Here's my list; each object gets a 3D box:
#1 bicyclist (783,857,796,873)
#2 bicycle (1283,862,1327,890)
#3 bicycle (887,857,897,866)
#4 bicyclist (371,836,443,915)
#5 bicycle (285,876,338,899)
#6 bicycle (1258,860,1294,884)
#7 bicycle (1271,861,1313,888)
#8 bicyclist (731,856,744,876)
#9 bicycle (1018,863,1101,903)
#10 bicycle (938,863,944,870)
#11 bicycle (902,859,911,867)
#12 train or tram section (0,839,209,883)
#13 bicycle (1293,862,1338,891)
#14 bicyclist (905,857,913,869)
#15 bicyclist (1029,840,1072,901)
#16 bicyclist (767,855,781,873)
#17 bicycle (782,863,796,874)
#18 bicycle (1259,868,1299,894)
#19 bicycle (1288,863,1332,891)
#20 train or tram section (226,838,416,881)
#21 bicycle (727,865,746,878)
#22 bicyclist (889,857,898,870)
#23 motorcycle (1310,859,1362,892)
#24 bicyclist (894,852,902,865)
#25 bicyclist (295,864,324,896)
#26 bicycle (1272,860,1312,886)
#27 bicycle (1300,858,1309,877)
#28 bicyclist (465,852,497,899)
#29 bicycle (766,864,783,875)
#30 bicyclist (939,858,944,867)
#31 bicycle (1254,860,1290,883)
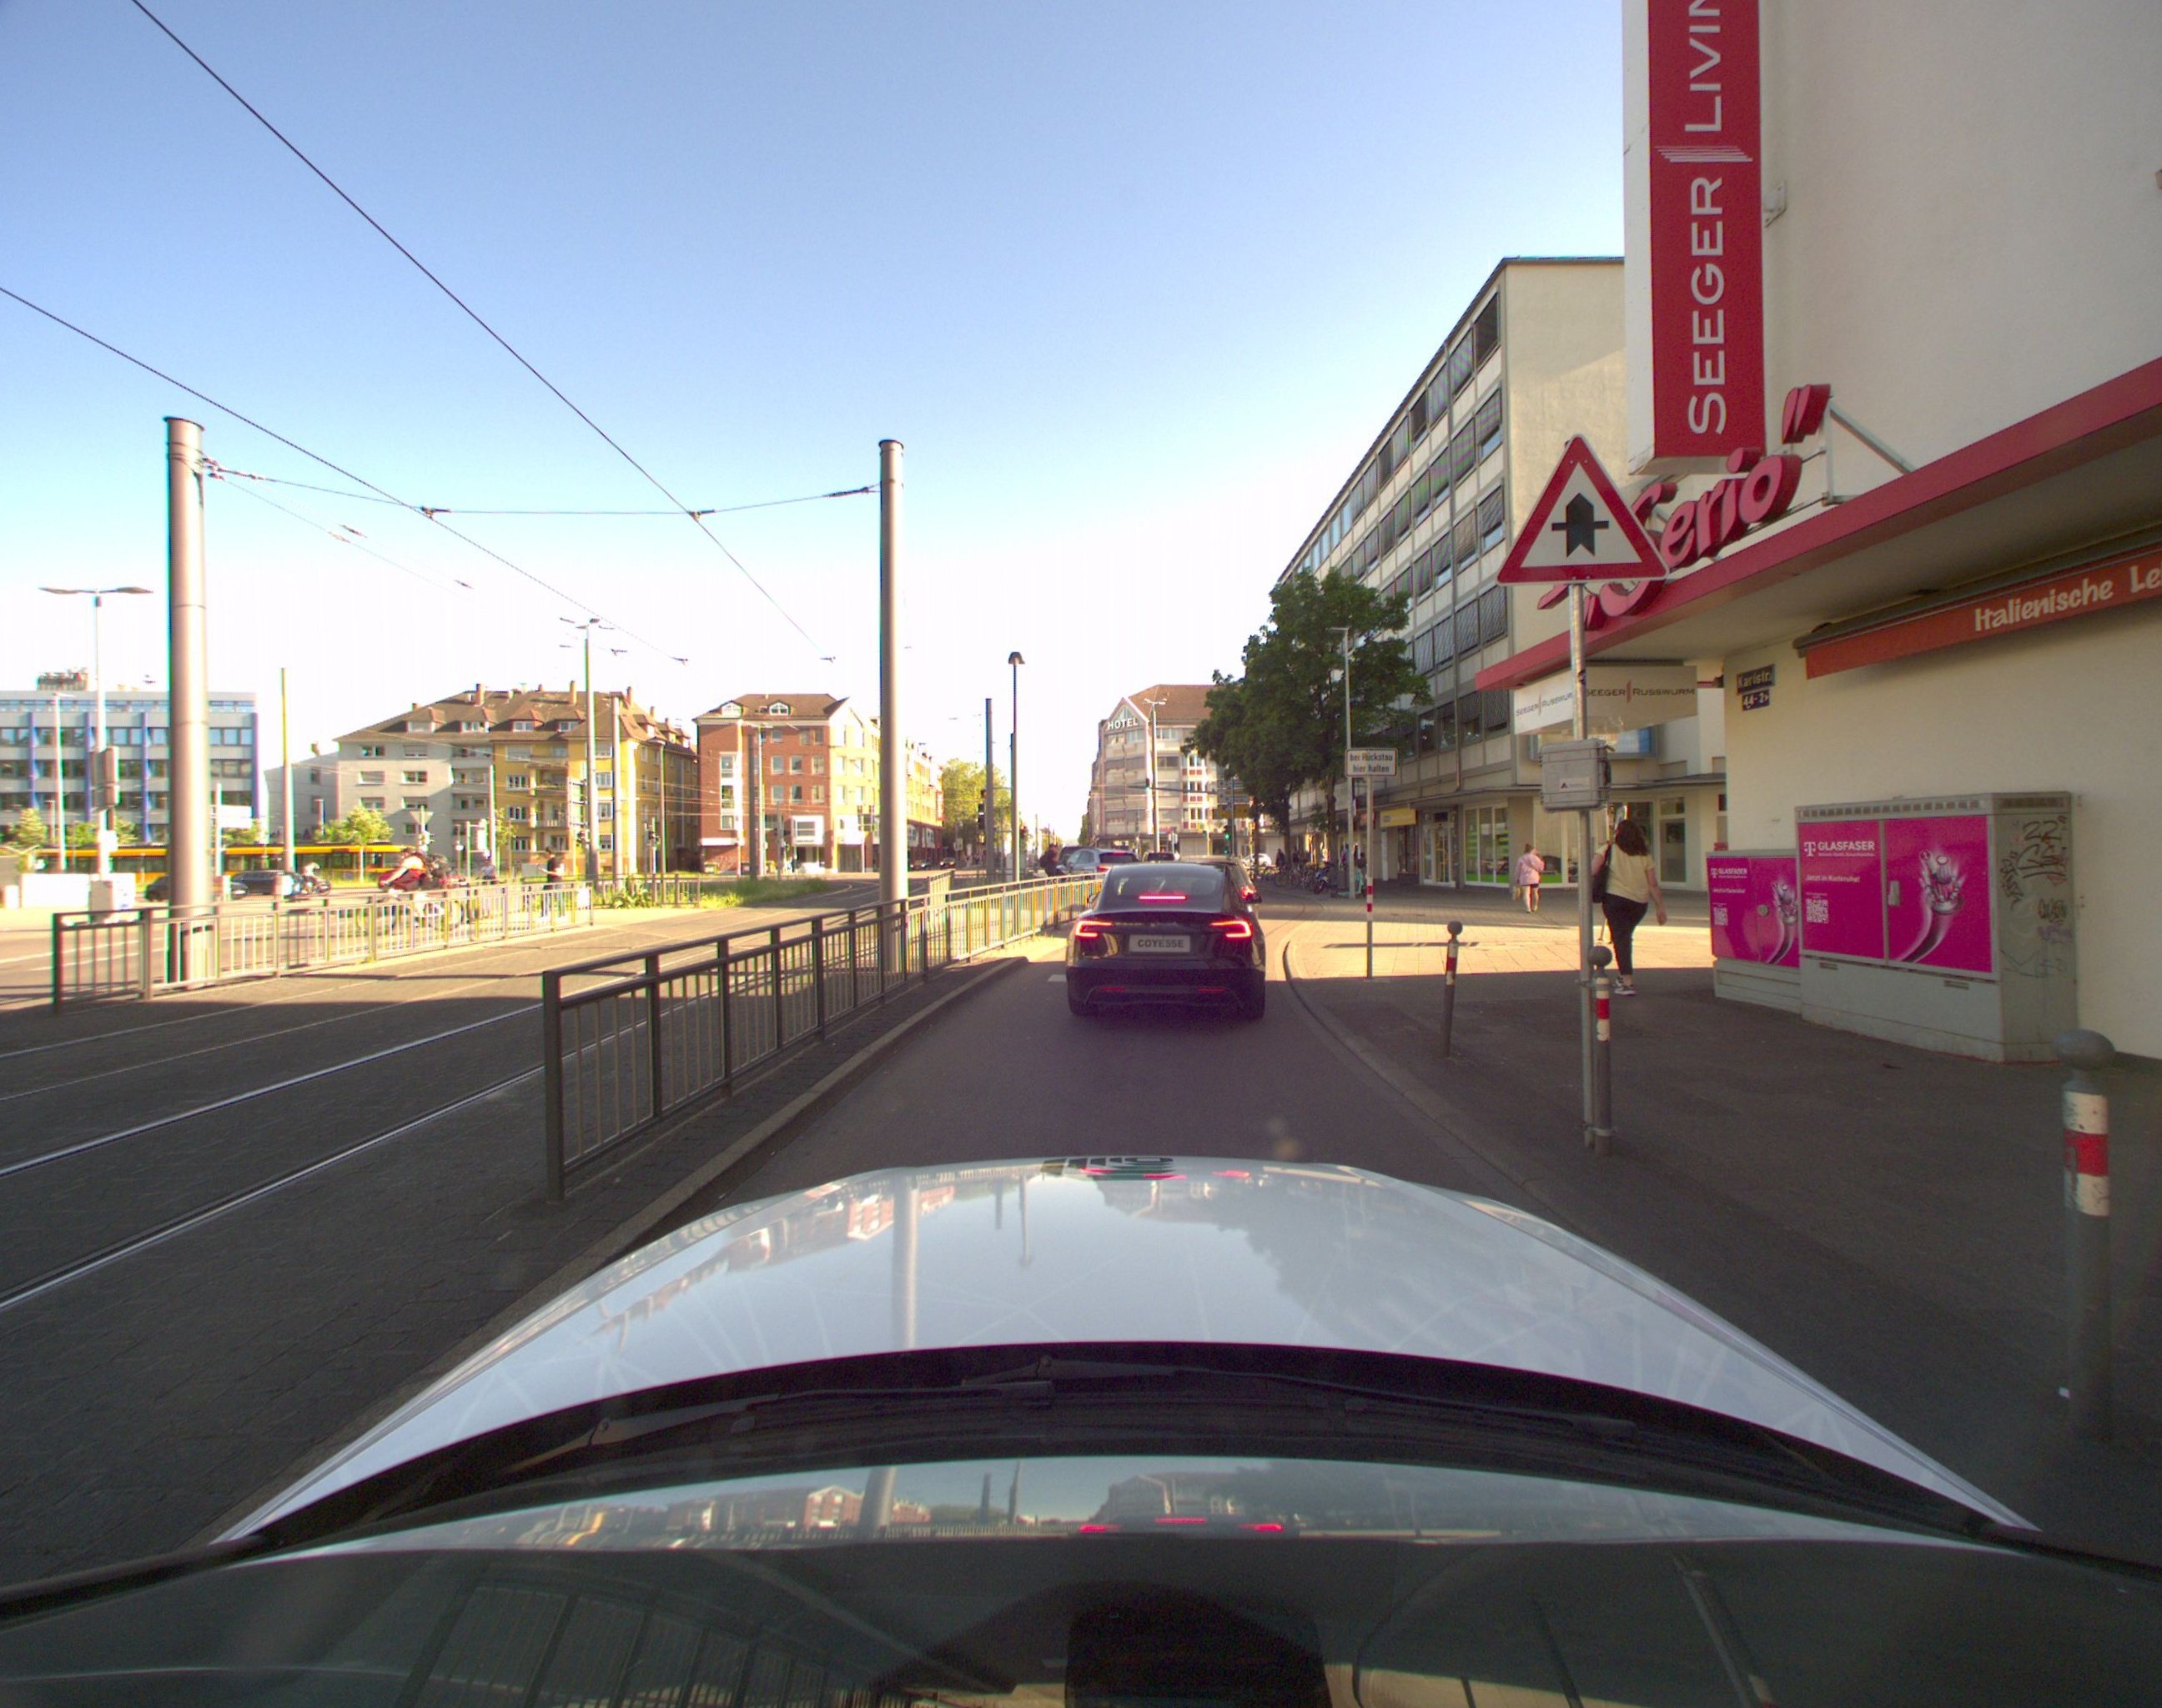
[{"bbox_3d":[-26.847,1.018,74.937,0.699,1.471,0.975,-1,0,9],"label":"bicyclist"},{"bbox_3d":[8.738,0.857,31.794,1.649,1.099,0.349,0,-1,-9],"label":"bicycle"},{"bbox_3d":[-22.556,0.912,97.132,0.535,1.088,2.227,0,-1,4],"label":"bicycle"},{"bbox_3d":[-13.398,0.417,16.219,1.046,1.521,0.388,0,-1,-30],"label":"bicyclist"},{"bbox_3d":[-43.157,1.876,45.676,2.188,1.214,0.544,0,-1,-11],"label":"bicycle"},{"bbox_3d":[9.147,0.834,38.218,1.643,1.099,0.350,0,-1,3],"label":"bicycle"},{"bbox_3d":[8.624,0.845,33.325,1.649,1.099,0.349,0,-1,-9],"label":"bicycle"},{"bbox_3d":[-26.031,0.918,61.695,0.631,1.503,0.696,0,-1,1],"label":"bicyclist"},{"bbox_3d":[-0.573,0.779,22.588,2.346,1.053,0.624,0,-1,-36],"label":"bicycle"},{"bbox_3d":[-23.172,2.074,134.781,0.527,1.088,2.227,0,-1,4],"label":"bicycle"},{"bbox_3d":[-22.406,1.171,104.630,0.527,1.088,2.286,-1,-1,4],"label":"bicycle"},{"bbox_3d":[-75.116,0.518,61.821,13.654,3.131,2.728,0,-1,-6],"label":"train or tram section"},{"bbox_3d":[8.902,0.857,30.944,1.649,1.099,0.349,0,-1,-9],"label":"bicycle"},{"bbox_3d":[-22.306,1.187,105.671,0.780,1.563,0.747,-1,0,3],"label":"bicyclist"},{"bbox_3d":[-0.846,0.437,22.348,0.763,1.628,0.967,0,-1,-37],"label":"bicyclist"},{"bbox_3d":[-25.837,0.819,68.532,0.895,1.503,0.696,0,-1,1],"label":"bicyclist"},{"bbox_3d":[-26.847,1.359,74.936,0.402,0.981,1.699,-1,-1,10],"label":"bicycle"},{"bbox_3d":[8.306,1.129,34.173,1.649,1.099,0.349,0,-1,-9],"label":"bicycle"},{"bbox_3d":[8.824,0.870,31.368,1.649,1.061,0.349,0,-1,-9],"label":"bicycle"},{"bbox_3d":[-59.126,0.411,63.629,11.223,3.131,2.797,0,-1,-8],"label":"train or tram section"},{"bbox_3d":[-26.051,1.329,61.661,0.445,0.972,2.247,0,-1,2],"label":"bicycle"},{"bbox_3d":[-22.511,1.115,97.714,0.780,1.563,0.747,0,-1,2],"label":"bicyclist"},{"bbox_3d":[9.152,0.766,29.210,1.701,1.173,0.541,0,-1,0],"label":"motorcycle"},{"bbox_3d":[-22.681,0.600,100.953,0.780,1.563,0.747,-1,0,3],"label":"bicyclist"},{"bbox_3d":[-43.226,1.448,45.628,0.901,1.808,0.788,0,-1,-12],"label":"bicyclist"},{"bbox_3d":[9.125,0.805,35.264,1.643,1.099,0.350,0,-1,3],"label":"bicycle"},{"bbox_3d":[12.777,0.773,46.480,0.330,1.034,1.259,-1,-1,8],"label":"bicycle"},{"bbox_3d":[-22.843,0.821,31.029,0.757,1.759,0.749,0,-1,-15],"label":"bicyclist"},{"bbox_3d":[-25.812,1.296,68.580,0.522,0.972,2.247,0,-1,2],"label":"bicycle"},{"bbox_3d":[-23.144,1.384,135.109,0.780,1.563,0.747,0,-1,3],"label":"bicyclist"},{"bbox_3d":[9.212,0.839,39.244,1.643,1.099,0.350,0,-1,3],"label":"bicycle"}]
